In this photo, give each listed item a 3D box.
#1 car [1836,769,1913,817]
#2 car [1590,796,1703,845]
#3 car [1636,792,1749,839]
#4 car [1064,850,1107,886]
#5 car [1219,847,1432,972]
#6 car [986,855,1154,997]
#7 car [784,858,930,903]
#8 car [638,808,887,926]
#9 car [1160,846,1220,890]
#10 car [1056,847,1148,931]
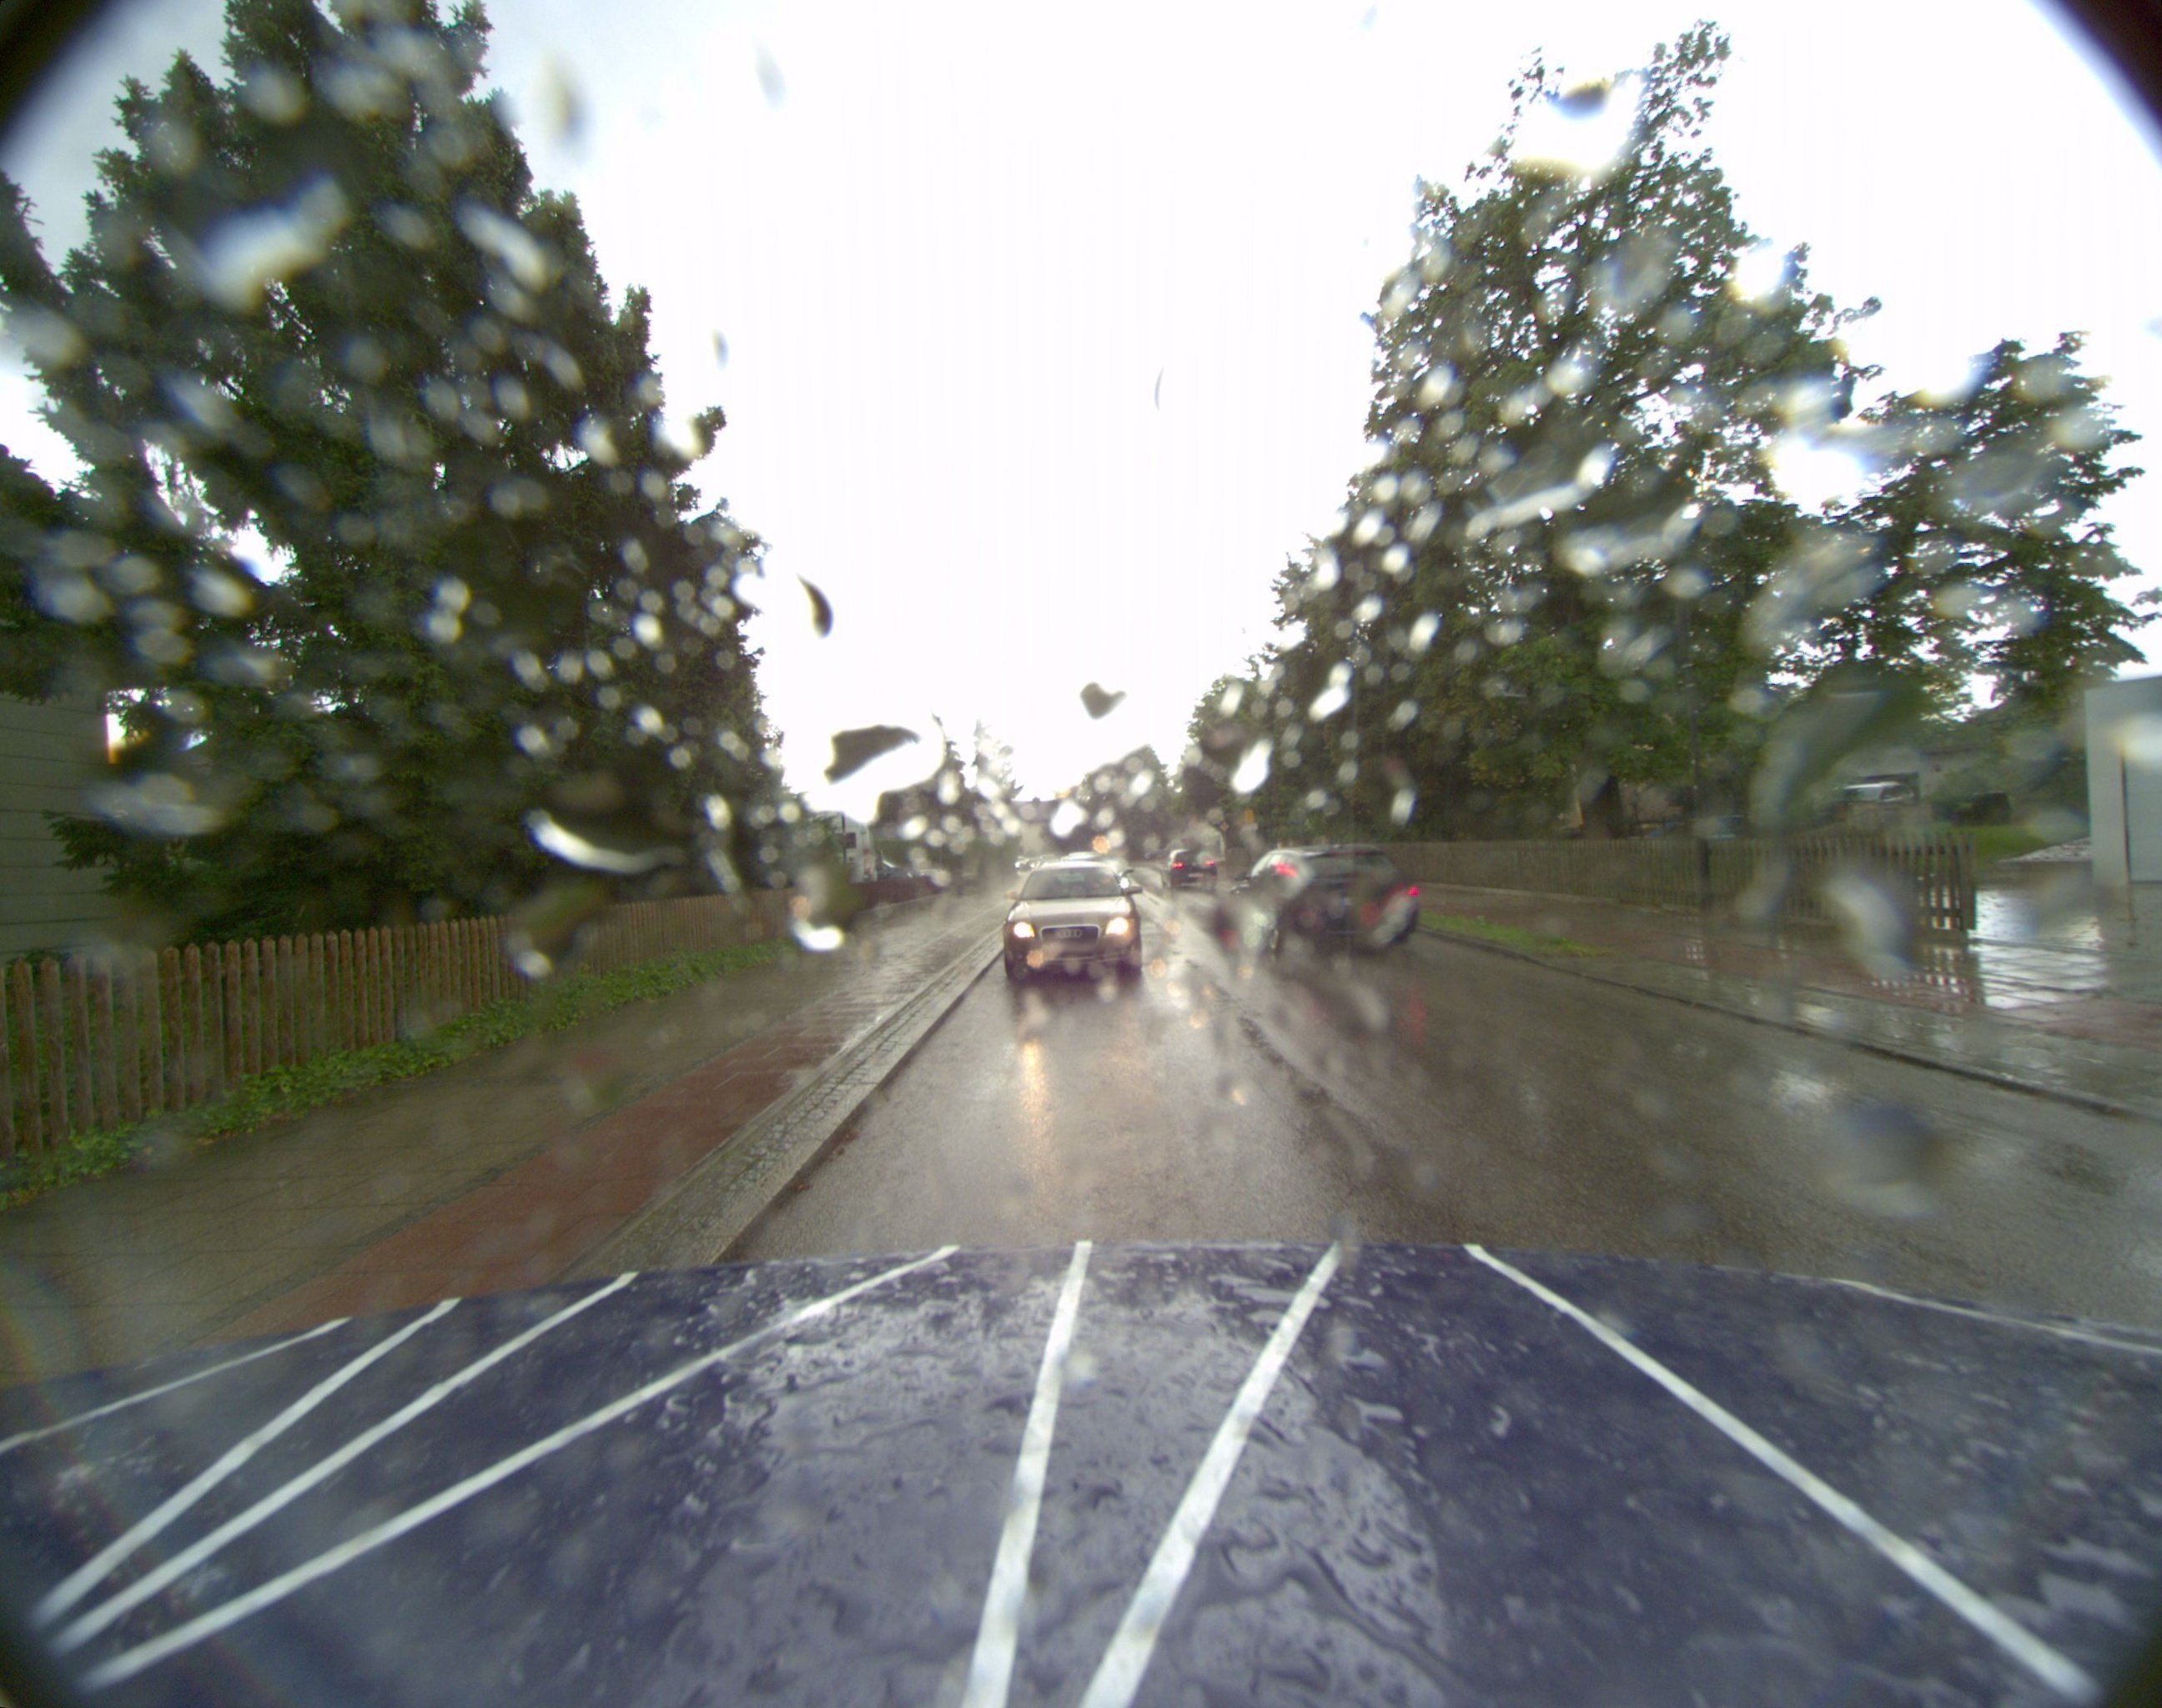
[{"bbox_3d":[40.621,-3.102,38.889,3.857,2.281,1.782,-3,1,-29],"label":"car"},{"bbox_3d":[26.045,-1.519,35.075,1.845,1.792,3.649,-6,0,-33],"label":"car"},{"bbox_3d":[28.912,-1.792,36.016,1.845,1.792,3.649,-6,0,-33],"label":"car"},{"bbox_3d":[0.223,0.628,37.708,1.872,1.512,4.960,-4,1,1],"label":"car"},{"bbox_3d":[3.457,0.680,11.694,1.785,1.457,4.374,-4,1,0],"label":"car"},{"bbox_3d":[-0.104,0.837,10.862,1.872,1.512,4.188,-3,1,1],"label":"car"},{"bbox_3d":[-7.383,0.862,25.442,4.443,1.413,1.829,0,1,-7],"label":"car"},{"bbox_3d":[-7.628,0.282,18.751,5.321,2.712,1.998,0,1,-9],"label":"car"},{"bbox_3d":[4.084,0.491,29.030,1.712,1.457,4.000,-4,1,1],"label":"car"},{"bbox_3d":[0.488,0.741,18.869,1.872,1.603,4.960,-4,1,1],"label":"car"}]
